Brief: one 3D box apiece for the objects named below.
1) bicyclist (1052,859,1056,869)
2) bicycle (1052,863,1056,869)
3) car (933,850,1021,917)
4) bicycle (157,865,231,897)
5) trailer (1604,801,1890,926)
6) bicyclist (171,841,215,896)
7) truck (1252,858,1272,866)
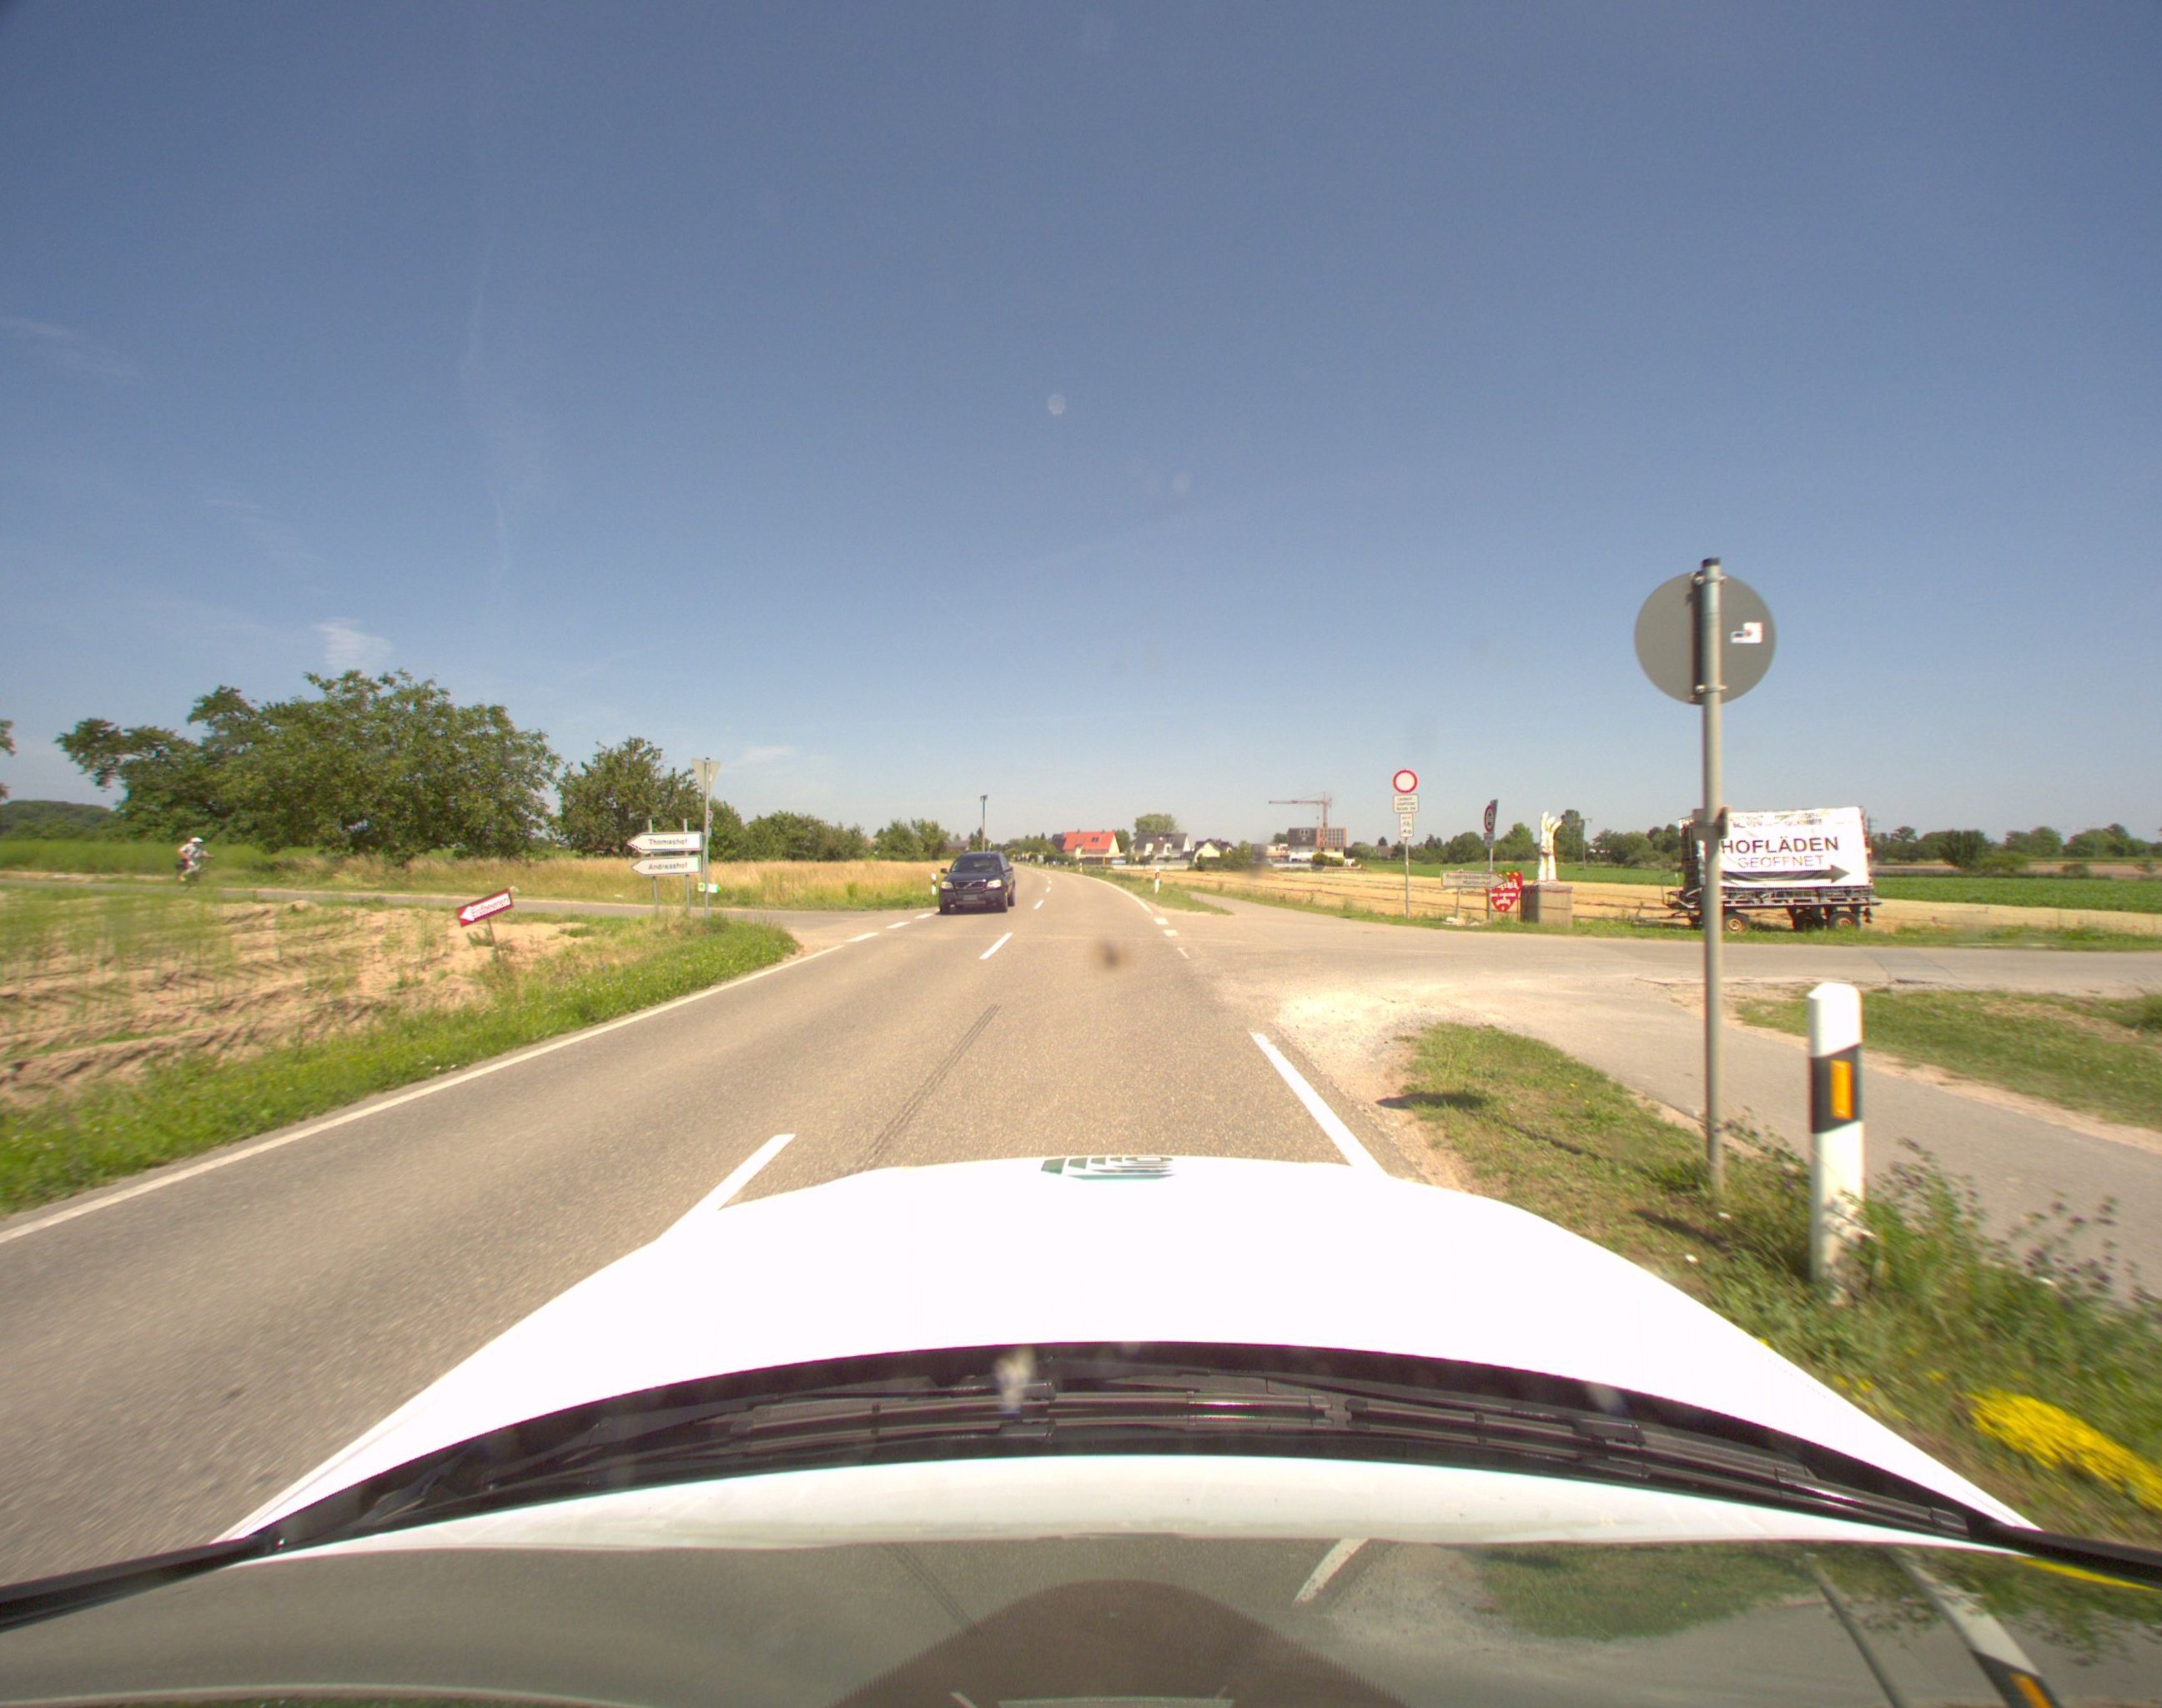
[{"bbox_3d":[-5.051,1.864,152.927,0.644,1.889,0.859,2,0,-8],"label":"bicyclist"},{"bbox_3d":[-5.074,2.238,153.044,0.610,1.158,2.268,2,0,-7],"label":"bicycle"},{"bbox_3d":[-2.982,0.795,24.457,1.927,1.751,5.203,-2,0,0],"label":"car"},{"bbox_3d":[-28.680,0.869,26.330,1.906,0.992,0.684,1,-1,11],"label":"bicycle"},{"bbox_3d":[16.715,0.288,20.780,5.242,2.952,2.007,-1,-2,13],"label":"trailer"},{"bbox_3d":[-28.719,0.471,26.343,0.695,1.758,0.664,1,-1,11],"label":"bicyclist"},{"bbox_3d":[53.506,2.367,240.127,5.509,2.230,2.225,-1,-1,18],"label":"truck"}]
